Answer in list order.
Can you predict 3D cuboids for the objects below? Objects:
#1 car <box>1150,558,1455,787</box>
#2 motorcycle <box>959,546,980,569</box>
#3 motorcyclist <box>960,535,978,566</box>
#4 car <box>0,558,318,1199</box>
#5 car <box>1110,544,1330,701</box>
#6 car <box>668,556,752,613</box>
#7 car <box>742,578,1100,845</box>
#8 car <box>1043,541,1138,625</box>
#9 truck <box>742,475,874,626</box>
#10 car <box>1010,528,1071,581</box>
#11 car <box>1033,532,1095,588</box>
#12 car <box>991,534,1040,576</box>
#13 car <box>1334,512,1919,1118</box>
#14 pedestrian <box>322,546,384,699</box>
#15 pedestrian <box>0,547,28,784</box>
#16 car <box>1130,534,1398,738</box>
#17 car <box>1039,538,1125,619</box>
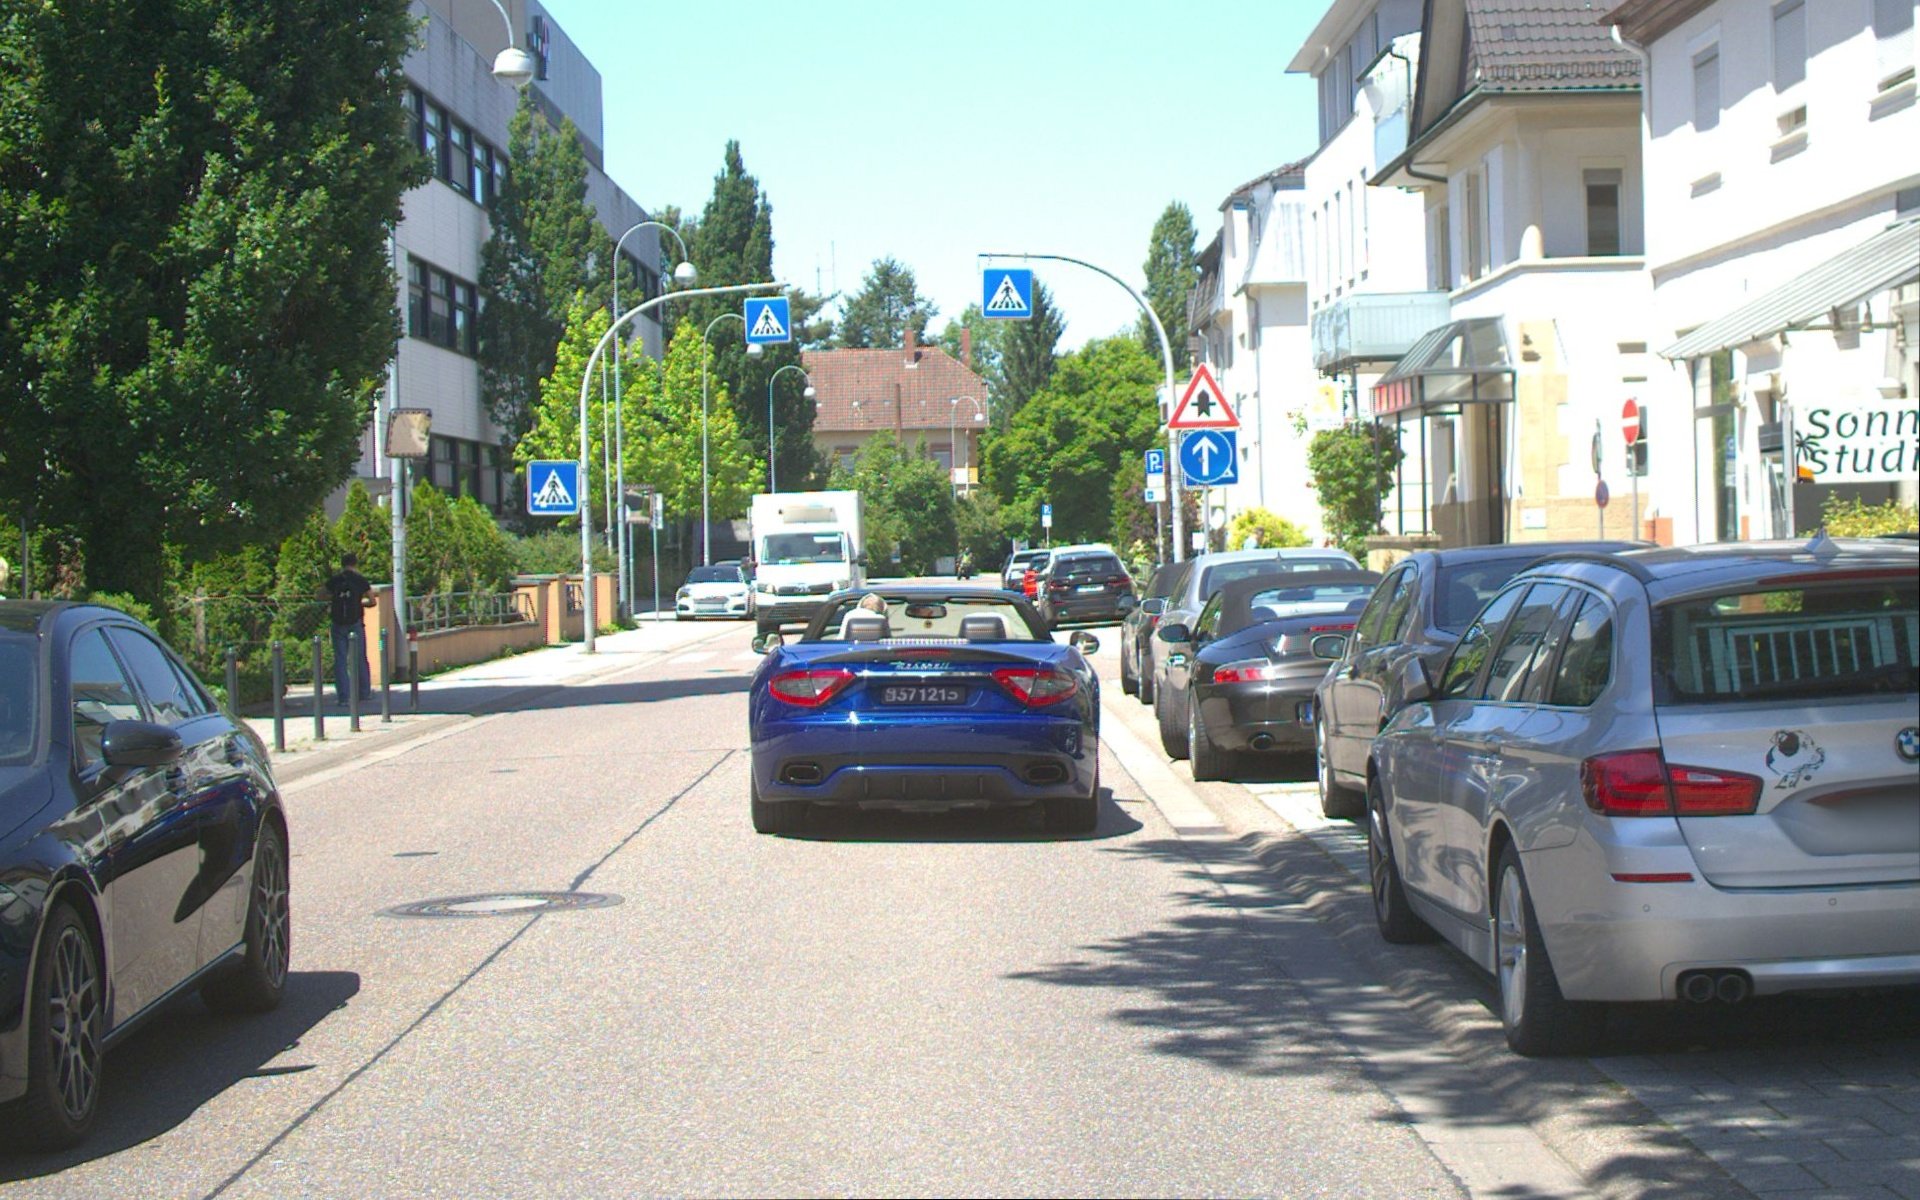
[{"bbox_3d":[2.224,0.420,23.224,1.558,1.336,4.174,-3,1,0],"label":"car"},{"bbox_3d":[0.462,-2.068,167.199,0.699,1.103,1.789,-3,1,9],"label":"motorcycle"},{"bbox_3d":[0.424,-2.409,167.059,0.699,1.428,0.707,-3,1,9],"label":"motorcyclist"},{"bbox_3d":[-3.213,0.693,10.021,1.829,1.506,4.262,-3,1,0],"label":"car"},{"bbox_3d":[2.566,0.182,34.865,1.827,1.422,4.700,-2,1,0],"label":"car"},{"bbox_3d":[-6.409,-0.426,88.621,1.822,1.406,4.577,0,1,0],"label":"car"},{"bbox_3d":[-0.199,0.556,19.939,1.826,1.332,4.700,0,1,0],"label":"car"},{"bbox_3d":[2.557,-0.371,68.423,1.705,1.551,4.748,-1,1,0],"label":"car"},{"bbox_3d":[-3.157,-1.047,72.664,2.420,2.973,6.258,-2,1,0],"label":"truck"},{"bbox_3d":[2.622,-1.512,113.115,1.843,1.614,4.427,-3,1,1],"label":"car"},{"bbox_3d":[2.897,-1.133,96.026,1.603,1.436,3.853,-4,1,1],"label":"car"},{"bbox_3d":[2.046,-1.678,127.838,1.631,1.441,4.398,-4,1,0],"label":"car"},{"bbox_3d":[2.442,0.500,11.193,1.829,1.506,4.760,-3,1,0],"label":"car"},{"bbox_3d":[-6.780,0.245,38.418,0.536,1.679,0.708,-1,1,0],"label":"pedestrian"},{"bbox_3d":[-7.094,0.464,24.762,0.536,1.679,0.708,-1,1,0],"label":"pedestrian"},{"bbox_3d":[2.462,0.243,28.922,1.744,1.463,4.852,-4,1,0],"label":"car"},{"bbox_3d":[2.615,-0.492,74.328,1.705,1.660,4.580,-1,1,0],"label":"car"}]
